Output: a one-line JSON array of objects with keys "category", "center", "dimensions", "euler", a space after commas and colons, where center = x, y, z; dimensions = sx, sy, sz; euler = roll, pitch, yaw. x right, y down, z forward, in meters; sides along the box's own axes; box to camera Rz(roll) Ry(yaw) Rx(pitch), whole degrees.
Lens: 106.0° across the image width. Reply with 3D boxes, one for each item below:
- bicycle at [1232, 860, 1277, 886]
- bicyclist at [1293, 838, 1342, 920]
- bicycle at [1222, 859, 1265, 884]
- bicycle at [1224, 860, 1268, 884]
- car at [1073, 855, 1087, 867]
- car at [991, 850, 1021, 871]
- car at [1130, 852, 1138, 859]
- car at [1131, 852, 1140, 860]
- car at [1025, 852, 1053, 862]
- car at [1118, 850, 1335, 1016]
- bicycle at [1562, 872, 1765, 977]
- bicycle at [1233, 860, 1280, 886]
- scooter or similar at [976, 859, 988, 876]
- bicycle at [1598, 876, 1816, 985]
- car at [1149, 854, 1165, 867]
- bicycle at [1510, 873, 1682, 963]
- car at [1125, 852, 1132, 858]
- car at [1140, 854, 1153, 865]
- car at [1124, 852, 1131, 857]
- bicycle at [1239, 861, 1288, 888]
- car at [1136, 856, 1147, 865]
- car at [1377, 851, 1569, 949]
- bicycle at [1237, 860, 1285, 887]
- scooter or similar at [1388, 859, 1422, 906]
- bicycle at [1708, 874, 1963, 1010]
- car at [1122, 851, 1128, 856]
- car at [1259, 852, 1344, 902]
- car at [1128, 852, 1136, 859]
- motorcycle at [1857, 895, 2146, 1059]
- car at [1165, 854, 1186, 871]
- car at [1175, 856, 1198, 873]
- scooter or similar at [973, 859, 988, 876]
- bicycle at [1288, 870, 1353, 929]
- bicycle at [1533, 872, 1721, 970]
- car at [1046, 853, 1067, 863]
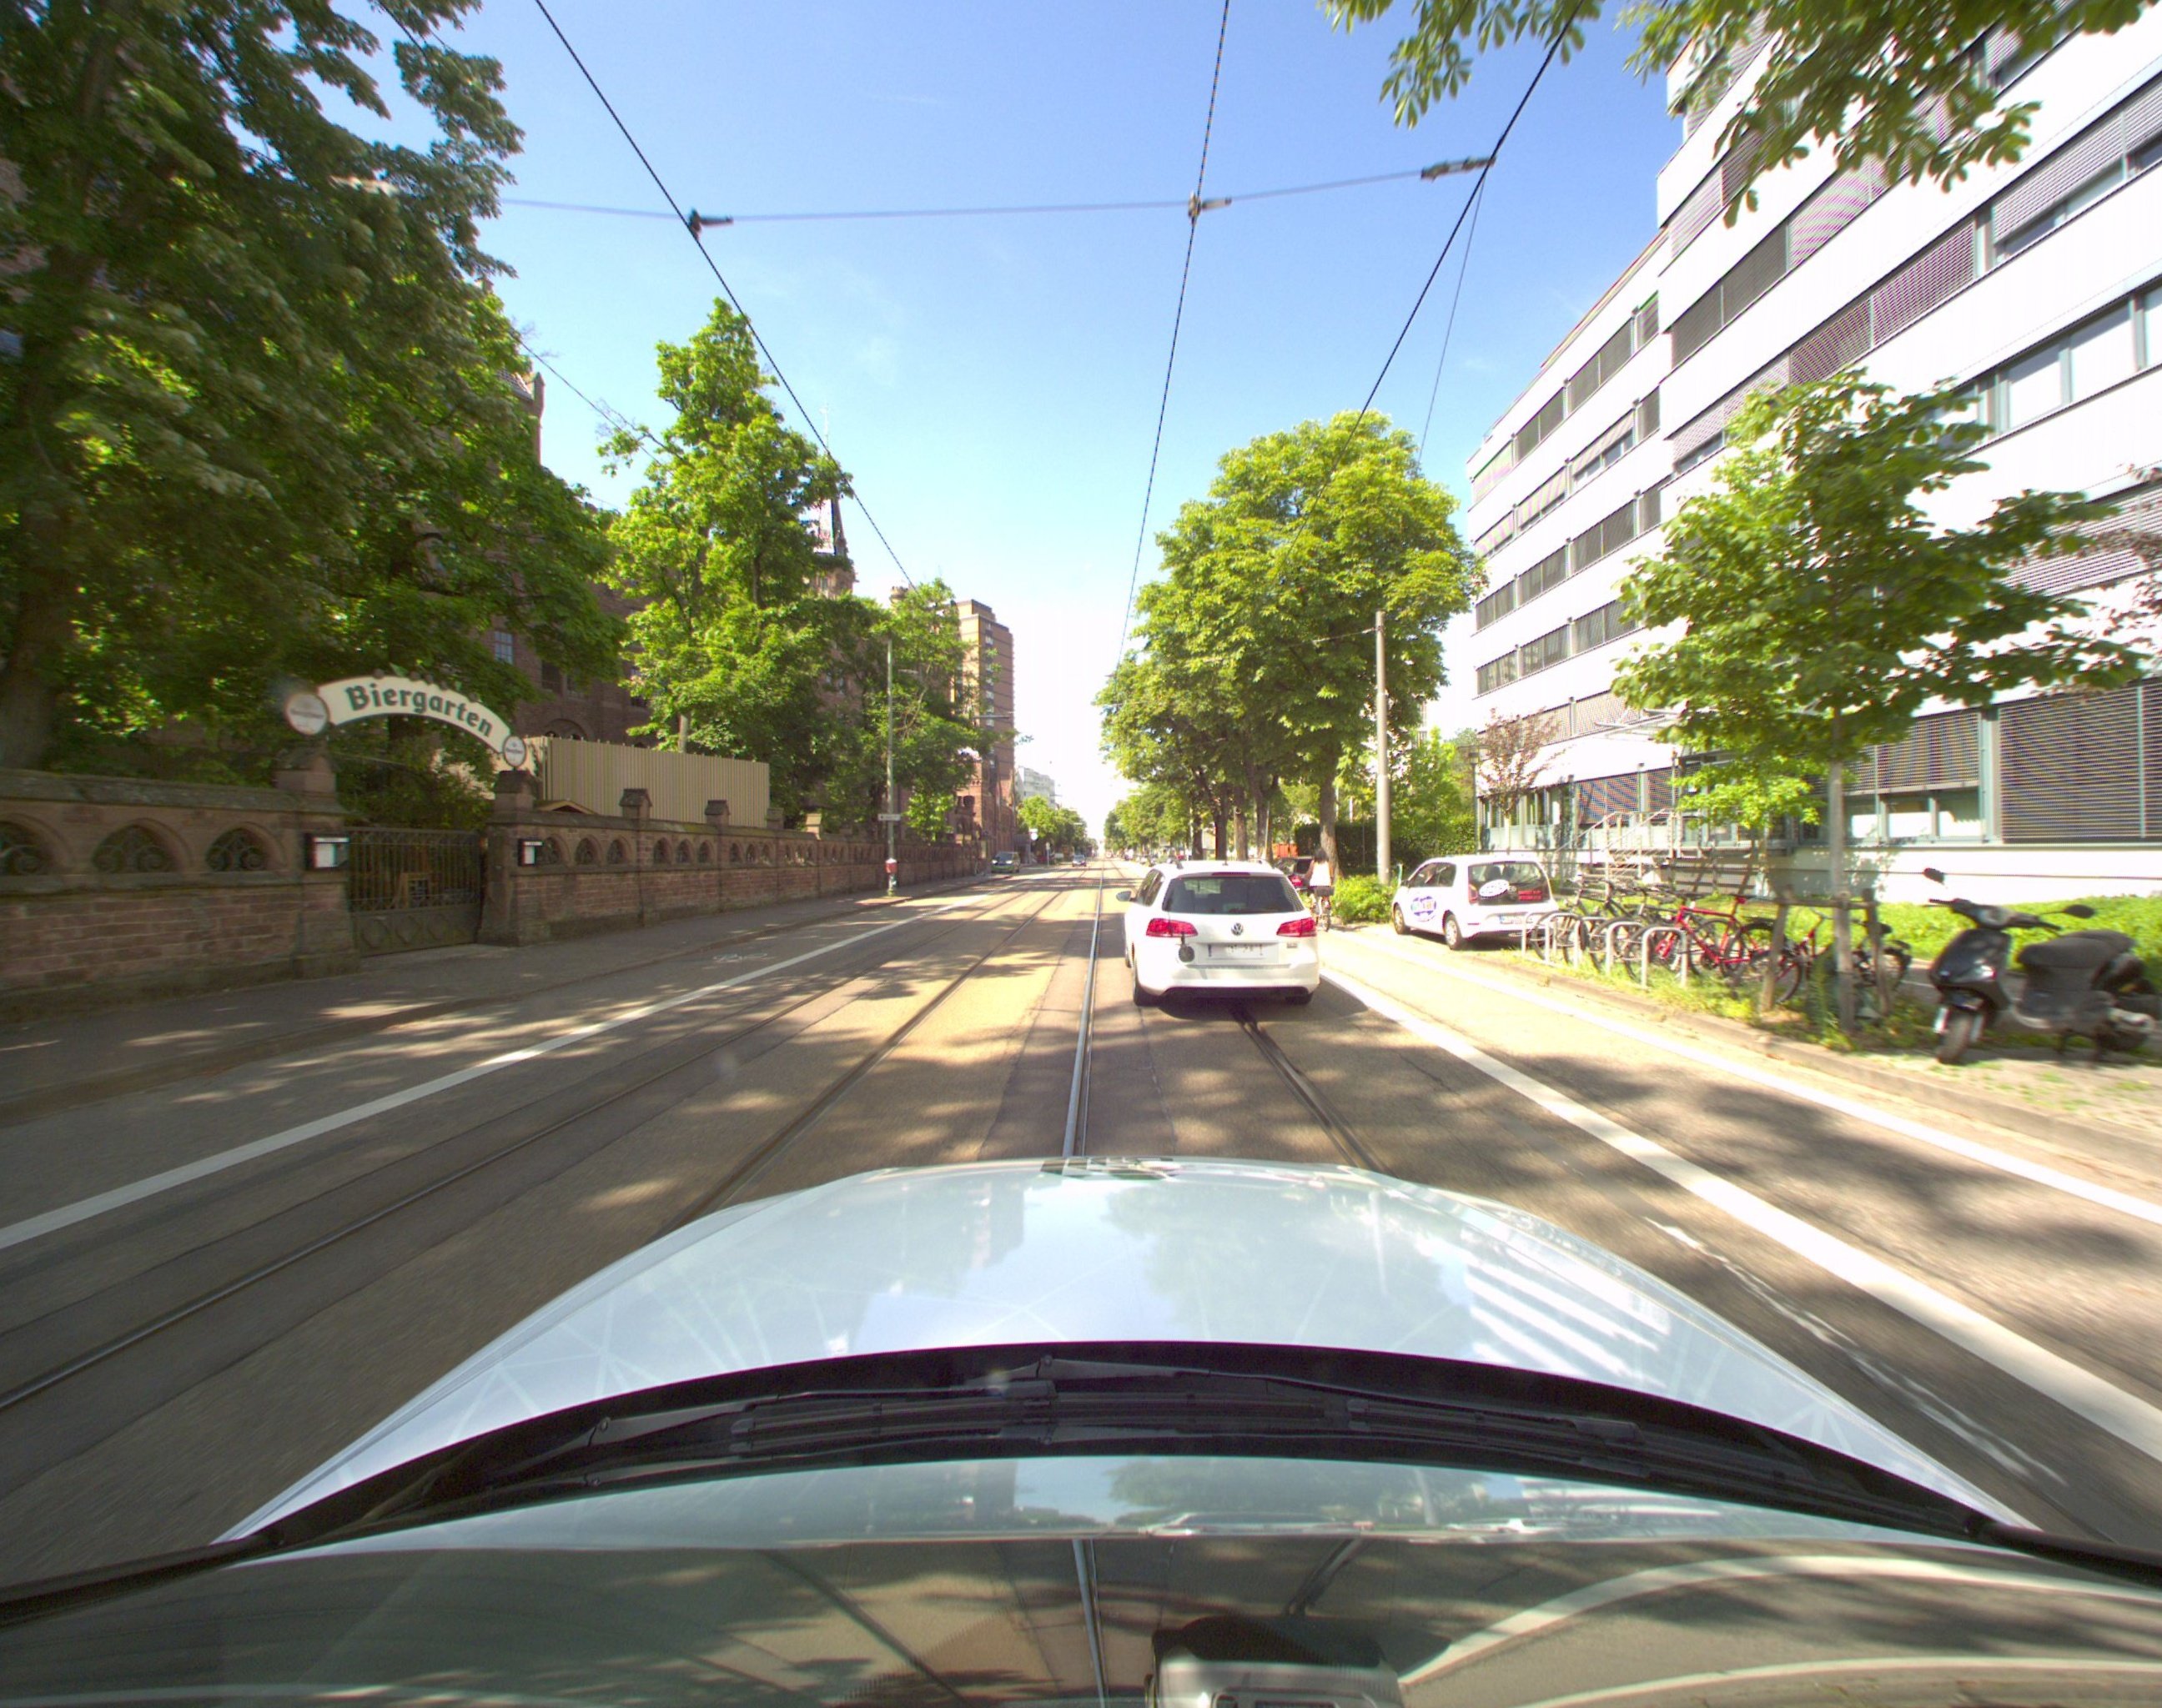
[{"category": "bicycle", "center": [7.207, 0.776, 33.877], "dimensions": [1.783, 1.010, 0.487], "euler": [-1, 0, -4]}, {"category": "bicyclist", "center": [4.839, 0.502, 16.686], "dimensions": [0.783, 1.629, 0.738], "euler": [-1, 0, 1]}, {"category": "bicycle", "center": [7.107, 0.761, 35.667], "dimensions": [1.783, 1.010, 0.487], "euler": [-1, 0, -4]}, {"category": "bicycle", "center": [7.130, 0.766, 35.147], "dimensions": [1.783, 1.010, 0.487], "euler": [-1, 0, -4]}, {"category": "car", "center": [-0.118, 0.866, 99.717], "dimensions": [1.487, 1.384, 3.645], "euler": [-1, 0, 2]}, {"category": "car", "center": [-6.822, 0.580, 74.332], "dimensions": [1.984, 1.757, 4.717], "euler": [-1, 0, 4]}, {"category": "car", "center": [11.124, 0.330, 171.403], "dimensions": [1.706, 1.401, 3.845], "euler": [-1, 0, 2]}, {"category": "car", "center": [10.715, 0.381, 160.170], "dimensions": [1.706, 1.401, 3.845], "euler": [-1, 0, 2]}, {"category": "car", "center": [-6.890, 0.554, 133.392], "dimensions": [4.131, 1.530, 1.919], "euler": [1, 0, -20]}, {"category": "car", "center": [1.374, 0.713, 9.347], "dimensions": [1.748, 1.442, 4.413], "euler": [0, -1, 1]}, {"category": "bicycle", "center": [6.560, 0.785, 9.210], "dimensions": [1.906, 1.083, 0.550], "euler": [2, 0, -1]}, {"category": "bicycle", "center": [7.177, 0.783, 33.289], "dimensions": [1.783, 1.010, 0.487], "euler": [-1, 0, -4]}, {"category": "scooter or similar", "center": [-7.432, 1.018, 61.322], "dimensions": [0.419, 1.200, 1.148], "euler": [-1, 0, 16]}, {"category": "bicycle", "center": [6.583, 0.792, 8.610], "dimensions": [1.906, 1.083, 0.550], "euler": [1, 0, -1]}, {"category": "car", "center": [9.051, 0.781, 96.795], "dimensions": [1.706, 1.401, 3.845], "euler": [-1, 0, 2]}, {"category": "bicycle", "center": [6.590, 0.805, 10.465], "dimensions": [1.880, 1.083, 0.550], "euler": [1, 0, -1]}, {"category": "car", "center": [11.763, 0.159, 201.779], "dimensions": [1.706, 1.401, 3.845], "euler": [-1, 0, 2]}, {"category": "car", "center": [9.227, 0.766, 114.874], "dimensions": [1.707, 1.401, 3.844], "euler": [-1, 0, 1]}, {"category": "car", "center": [11.832, 0.118, 206.169], "dimensions": [1.706, 1.401, 3.845], "euler": [-1, 0, 2]}, {"category": "bicycle", "center": [7.199, 0.793, 32.128], "dimensions": [1.783, 1.010, 0.487], "euler": [-1, 0, -4]}, {"category": "car", "center": [10.448, 1.091, 140.405], "dimensions": [1.706, 1.401, 3.845], "euler": [-1, 0, 2]}, {"category": "car", "center": [6.646, 0.688, 14.296], "dimensions": [1.584, 1.451, 3.948], "euler": [-1, 0, 2]}, {"category": "bicycle", "center": [7.224, 0.787, 32.715], "dimensions": [1.783, 1.010, 0.487], "euler": [-1, 0, -4]}, {"category": "scooter or similar", "center": [8.032, 0.698, 20.230], "dimensions": [0.378, 1.128, 1.091], "euler": [-1, 0, 0]}, {"category": "bicycle", "center": [6.774, 0.768, 7.359], "dimensions": [1.769, 1.120, 0.596], "euler": [-1, 0, -1]}, {"category": "car", "center": [12.636, -0.099, 235.508], "dimensions": [1.706, 1.401, 3.845], "euler": [-1, 0, 2]}, {"category": "car", "center": [7.067, 0.687, 26.503], "dimensions": [1.658, 1.444, 4.636], "euler": [-1, 0, 2]}, {"category": "car", "center": [11.300, 0.323, 180.651], "dimensions": [1.706, 1.401, 3.845], "euler": [-1, 0, 2]}, {"category": "motorcycle", "center": [6.474, 0.841, 5.767], "dimensions": [1.461, 1.046, 0.534], "euler": [-1, 0, -1]}, {"category": "car", "center": [8.736, 0.764, 75.164], "dimensions": [1.706, 1.401, 3.847], "euler": [-1, 0, 4]}, {"category": "car", "center": [8.479, 0.794, 65.482], "dimensions": [1.705, 1.280, 3.849], "euler": [-1, 0, 6]}, {"category": "scooter or similar", "center": [-7.168, 0.947, 58.046], "dimensions": [0.400, 1.155, 1.150], "euler": [-1, 0, 36]}, {"category": "bicycle", "center": [4.855, 0.902, 16.656], "dimensions": [0.808, 1.078, 2.013], "euler": [0, 0, 2]}, {"category": "bicycle", "center": [6.556, 0.791, 9.823], "dimensions": [1.906, 1.083, 0.550], "euler": [2, 0, -1]}, {"category": "car", "center": [-5.002, 0.797, 166.519], "dimensions": [4.016, 1.816, 1.979], "euler": [-1, 0, -34]}]
